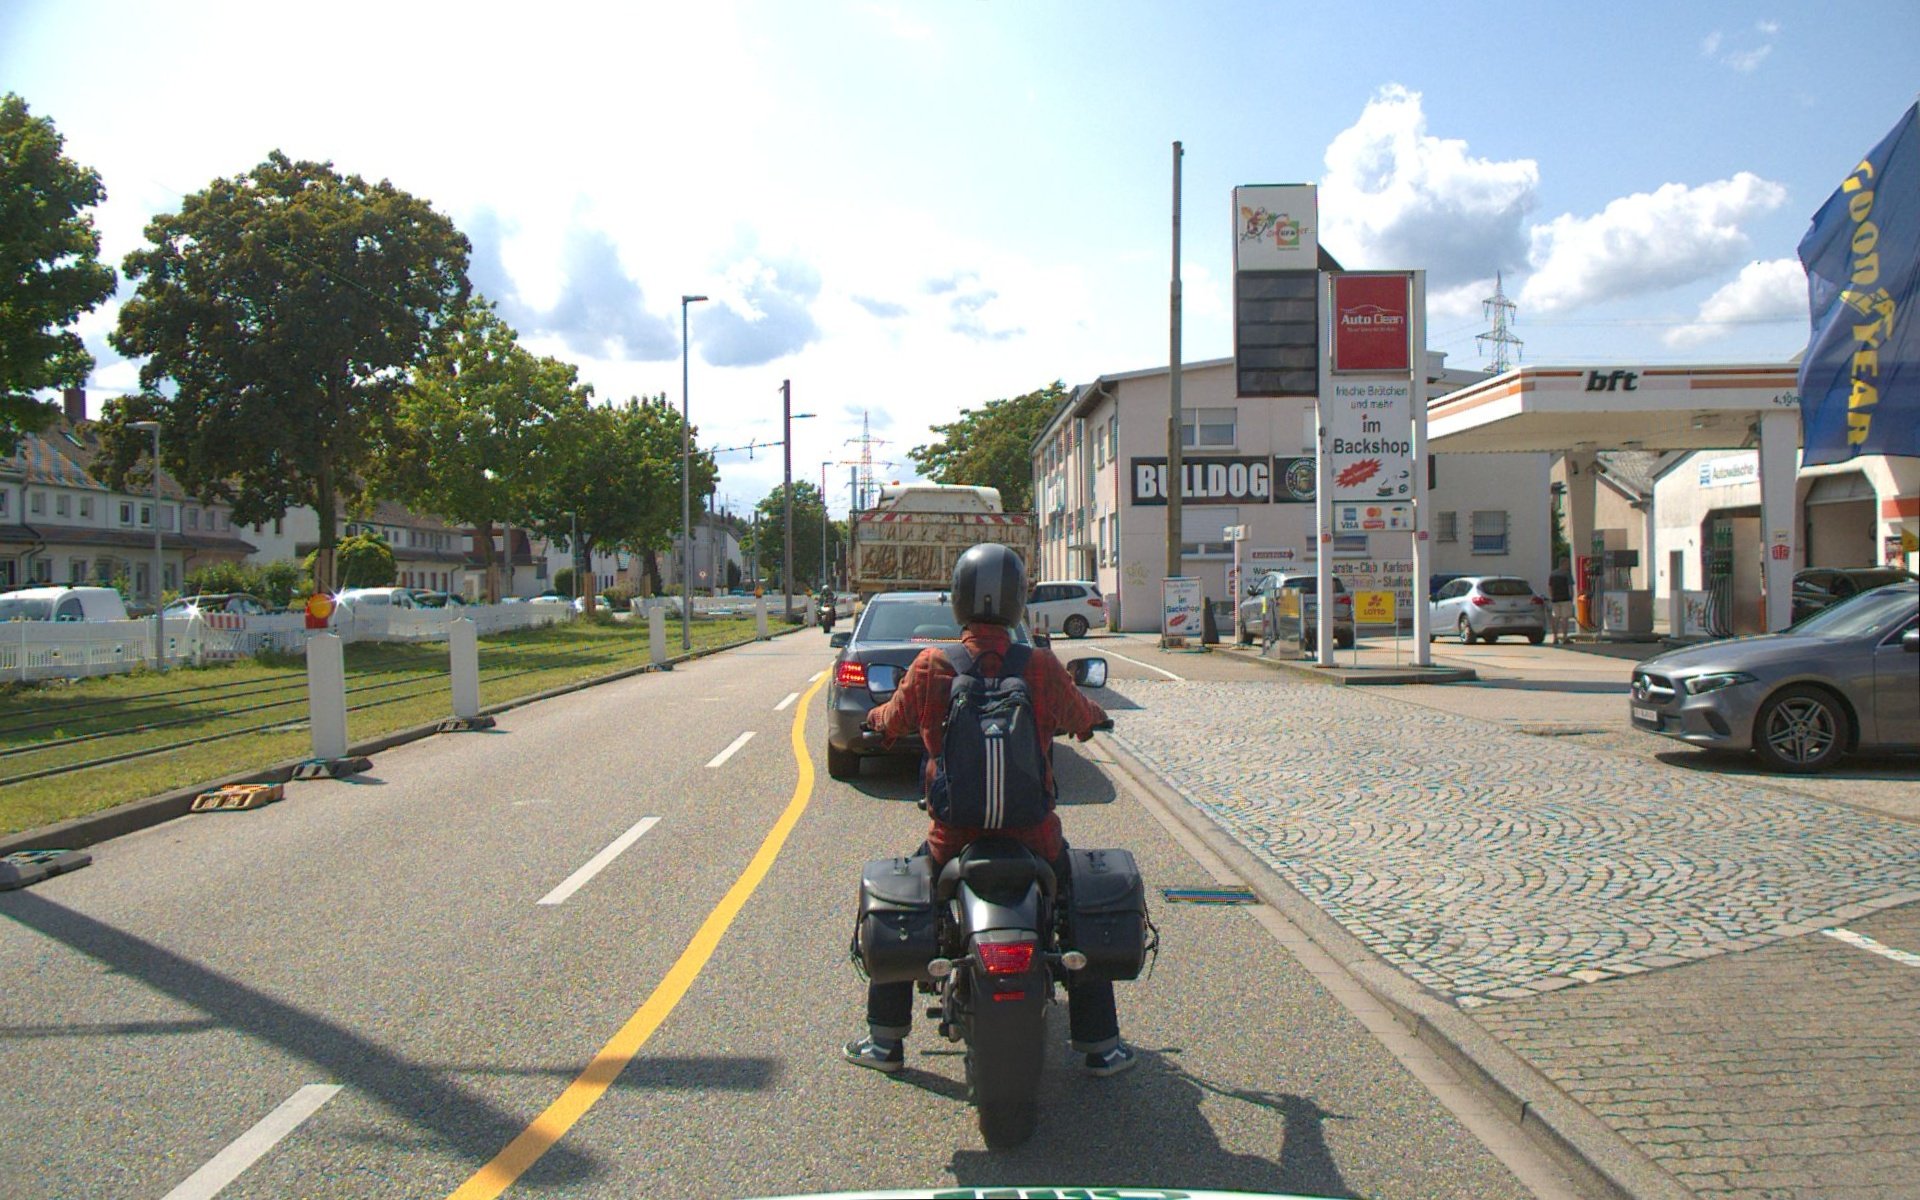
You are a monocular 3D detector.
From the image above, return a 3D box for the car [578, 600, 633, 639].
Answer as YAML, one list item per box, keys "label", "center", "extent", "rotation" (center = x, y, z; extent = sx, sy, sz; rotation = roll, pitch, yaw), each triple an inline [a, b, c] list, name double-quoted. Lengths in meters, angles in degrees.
- label: "car"
  center: [-17.054, 0.909, 79.687]
  extent: [1.740, 1.753, 4.127]
  rotation: [-1, 0, -1]

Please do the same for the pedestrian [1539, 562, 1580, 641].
- label: "pedestrian"
  center: [12.954, 0.032, 35.714]
  extent: [0.696, 1.685, 0.546]
  rotation: [-1, 0, 35]

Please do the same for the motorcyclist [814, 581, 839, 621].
- label: "motorcyclist"
  center: [-4.728, 0.040, 58.548]
  extent: [0.851, 1.402, 0.800]
  rotation: [-1, 0, -4]

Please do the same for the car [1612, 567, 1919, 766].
- label: "car"
  center: [7.464, 0.463, 12.818]
  extent: [4.181, 1.440, 1.675]
  rotation: [-1, 0, 7]

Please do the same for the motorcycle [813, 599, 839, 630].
- label: "motorcycle"
  center: [-4.722, 0.517, 58.421]
  extent: [0.851, 1.039, 2.243]
  rotation: [-1, 0, -3]

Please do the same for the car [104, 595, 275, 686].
- label: "car"
  center: [-16.672, 0.832, 36.027]
  extent: [1.740, 1.805, 4.227]
  rotation: [-1, 0, -1]

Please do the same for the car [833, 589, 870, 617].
- label: "car"
  center: [-6.105, 0.170, 93.519]
  extent: [1.786, 1.478, 4.323]
  rotation: [-2, 0, -1]

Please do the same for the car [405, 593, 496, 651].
- label: "car"
  center: [-16.971, 0.699, 55.262]
  extent: [1.740, 1.837, 4.127]
  rotation: [-1, 0, -1]

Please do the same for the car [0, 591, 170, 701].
- label: "car"
  center: [-16.442, 0.783, 30.391]
  extent: [1.740, 1.853, 4.363]
  rotation: [-1, 0, -1]

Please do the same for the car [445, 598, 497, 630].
- label: "car"
  center: [-28.298, 0.777, 95.836]
  extent: [1.740, 1.753, 4.127]
  rotation: [-1, 0, -1]

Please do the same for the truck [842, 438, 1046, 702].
- label: "truck"
  center: [-0.262, -0.423, 25.367]
  extent: [2.585, 3.354, 8.055]
  rotation: [-1, 0, -1]

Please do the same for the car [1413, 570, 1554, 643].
- label: "car"
  center: [11.723, 0.120, 37.267]
  extent: [1.770, 1.529, 3.831]
  rotation: [-1, 0, -3]

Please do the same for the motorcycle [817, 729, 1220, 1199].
- label: "motorcycle"
  center: [0.124, 0.996, 5.325]
  extent: [0.959, 0.913, 2.653]
  rotation: [-1, 0, -1]

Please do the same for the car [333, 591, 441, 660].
- label: "car"
  center: [-16.939, 0.714, 49.084]
  extent: [1.740, 1.900, 4.127]
  rotation: [-1, 0, -1]

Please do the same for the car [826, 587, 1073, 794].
- label: "car"
  center: [-0.105, 0.650, 14.128]
  extent: [1.786, 1.478, 3.999]
  rotation: [1, 0, -1]

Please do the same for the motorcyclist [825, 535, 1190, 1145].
- label: "motorcyclist"
  center: [0.122, 0.642, 5.019]
  extent: [0.959, 1.630, 1.087]
  rotation: [-1, 0, -1]

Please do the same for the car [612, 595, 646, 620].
- label: "car"
  center: [-24.962, 0.546, 124.854]
  extent: [1.740, 1.753, 4.127]
  rotation: [-1, 0, -1]

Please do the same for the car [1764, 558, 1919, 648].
- label: "car"
  center: [16.619, 0.026, 30.322]
  extent: [1.770, 1.529, 3.832]
  rotation: [-1, 0, -3]

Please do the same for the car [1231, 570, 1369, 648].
- label: "car"
  center: [7.458, 0.177, 36.632]
  extent: [1.636, 1.589, 4.236]
  rotation: [-1, 0, -8]

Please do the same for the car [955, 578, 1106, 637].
- label: "car"
  center: [1.984, 0.213, 47.154]
  extent: [4.146, 1.570, 1.672]
  rotation: [-1, 0, -3]

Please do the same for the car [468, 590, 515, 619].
- label: "car"
  center: [-29.424, 0.273, 103.954]
  extent: [1.740, 1.753, 4.127]
  rotation: [-1, 0, -1]
